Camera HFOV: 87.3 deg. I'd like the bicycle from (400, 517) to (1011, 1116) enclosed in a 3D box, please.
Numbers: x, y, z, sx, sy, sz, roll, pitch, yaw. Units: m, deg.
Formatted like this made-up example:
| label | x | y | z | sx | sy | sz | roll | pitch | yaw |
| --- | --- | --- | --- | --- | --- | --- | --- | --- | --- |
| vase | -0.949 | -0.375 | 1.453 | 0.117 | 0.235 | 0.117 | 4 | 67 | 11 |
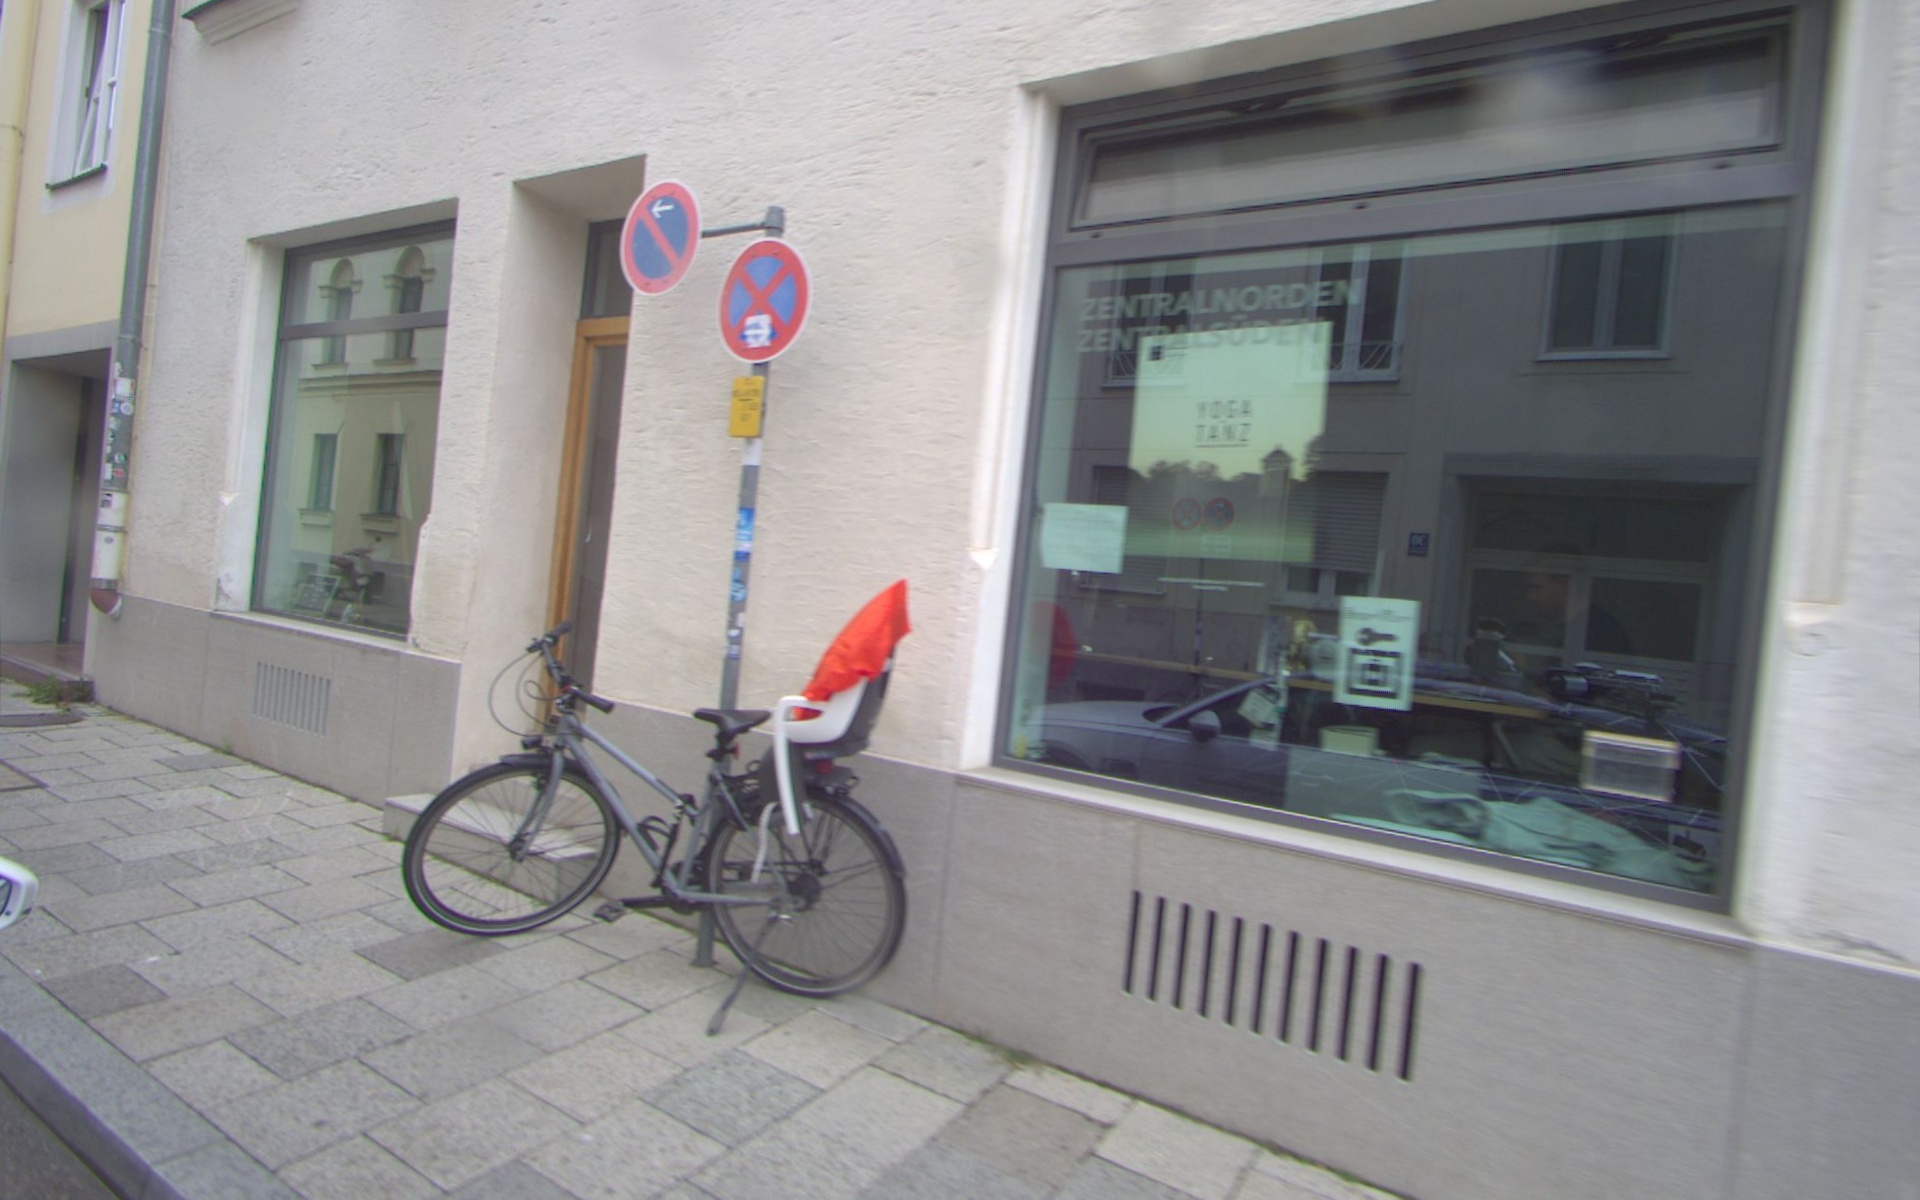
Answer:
| label | x | y | z | sx | sy | sz | roll | pitch | yaw |
| --- | --- | --- | --- | --- | --- | --- | --- | --- | --- |
| bicycle | -0.961 | 0.512 | 3.396 | 2.088 | 1.415 | 0.713 | 7 | 3 | 34 |
